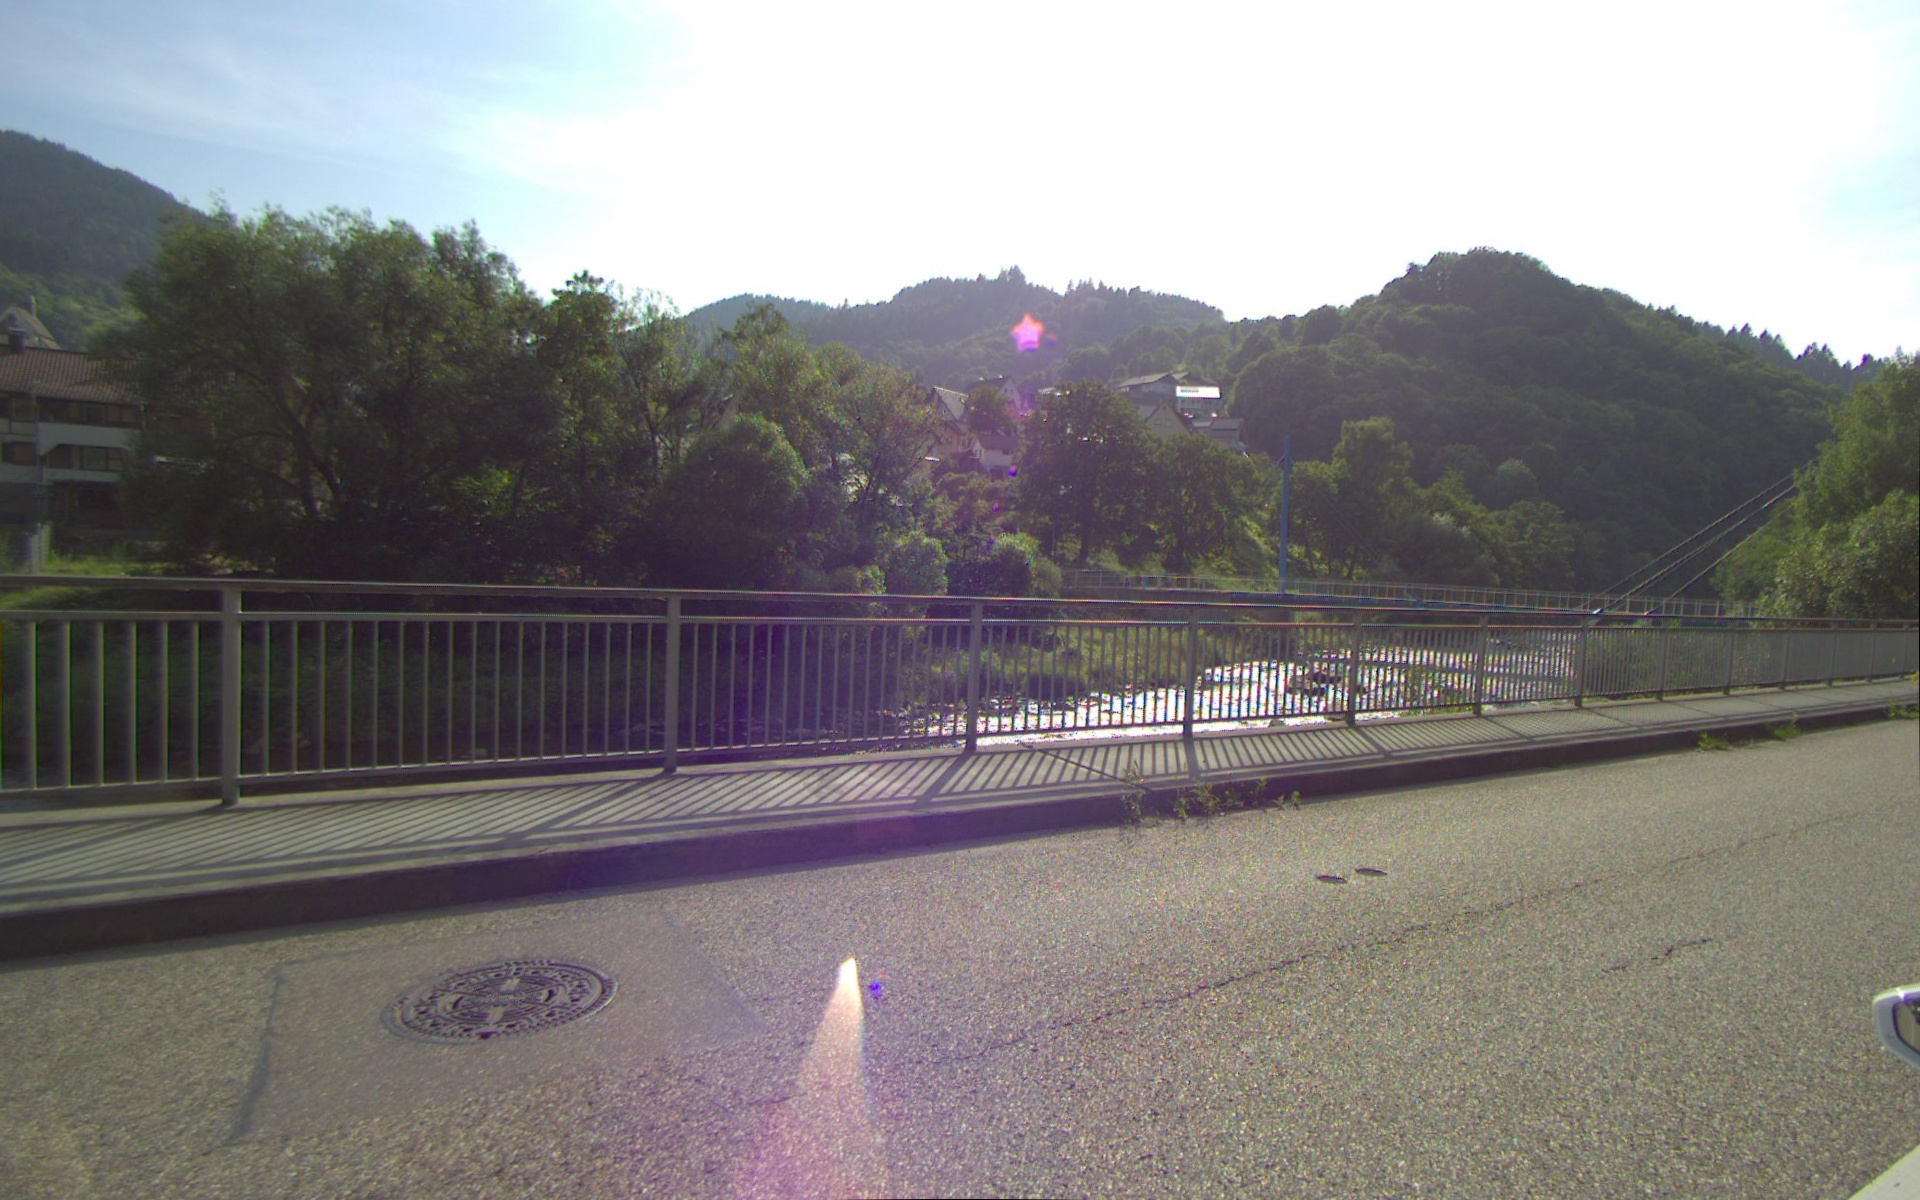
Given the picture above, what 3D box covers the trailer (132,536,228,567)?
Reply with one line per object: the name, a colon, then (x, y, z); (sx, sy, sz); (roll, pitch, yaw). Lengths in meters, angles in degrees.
trailer: (-39.462, -2.431, 50.855); (3.675, 1.327, 1.872); (2, 0, -44)
